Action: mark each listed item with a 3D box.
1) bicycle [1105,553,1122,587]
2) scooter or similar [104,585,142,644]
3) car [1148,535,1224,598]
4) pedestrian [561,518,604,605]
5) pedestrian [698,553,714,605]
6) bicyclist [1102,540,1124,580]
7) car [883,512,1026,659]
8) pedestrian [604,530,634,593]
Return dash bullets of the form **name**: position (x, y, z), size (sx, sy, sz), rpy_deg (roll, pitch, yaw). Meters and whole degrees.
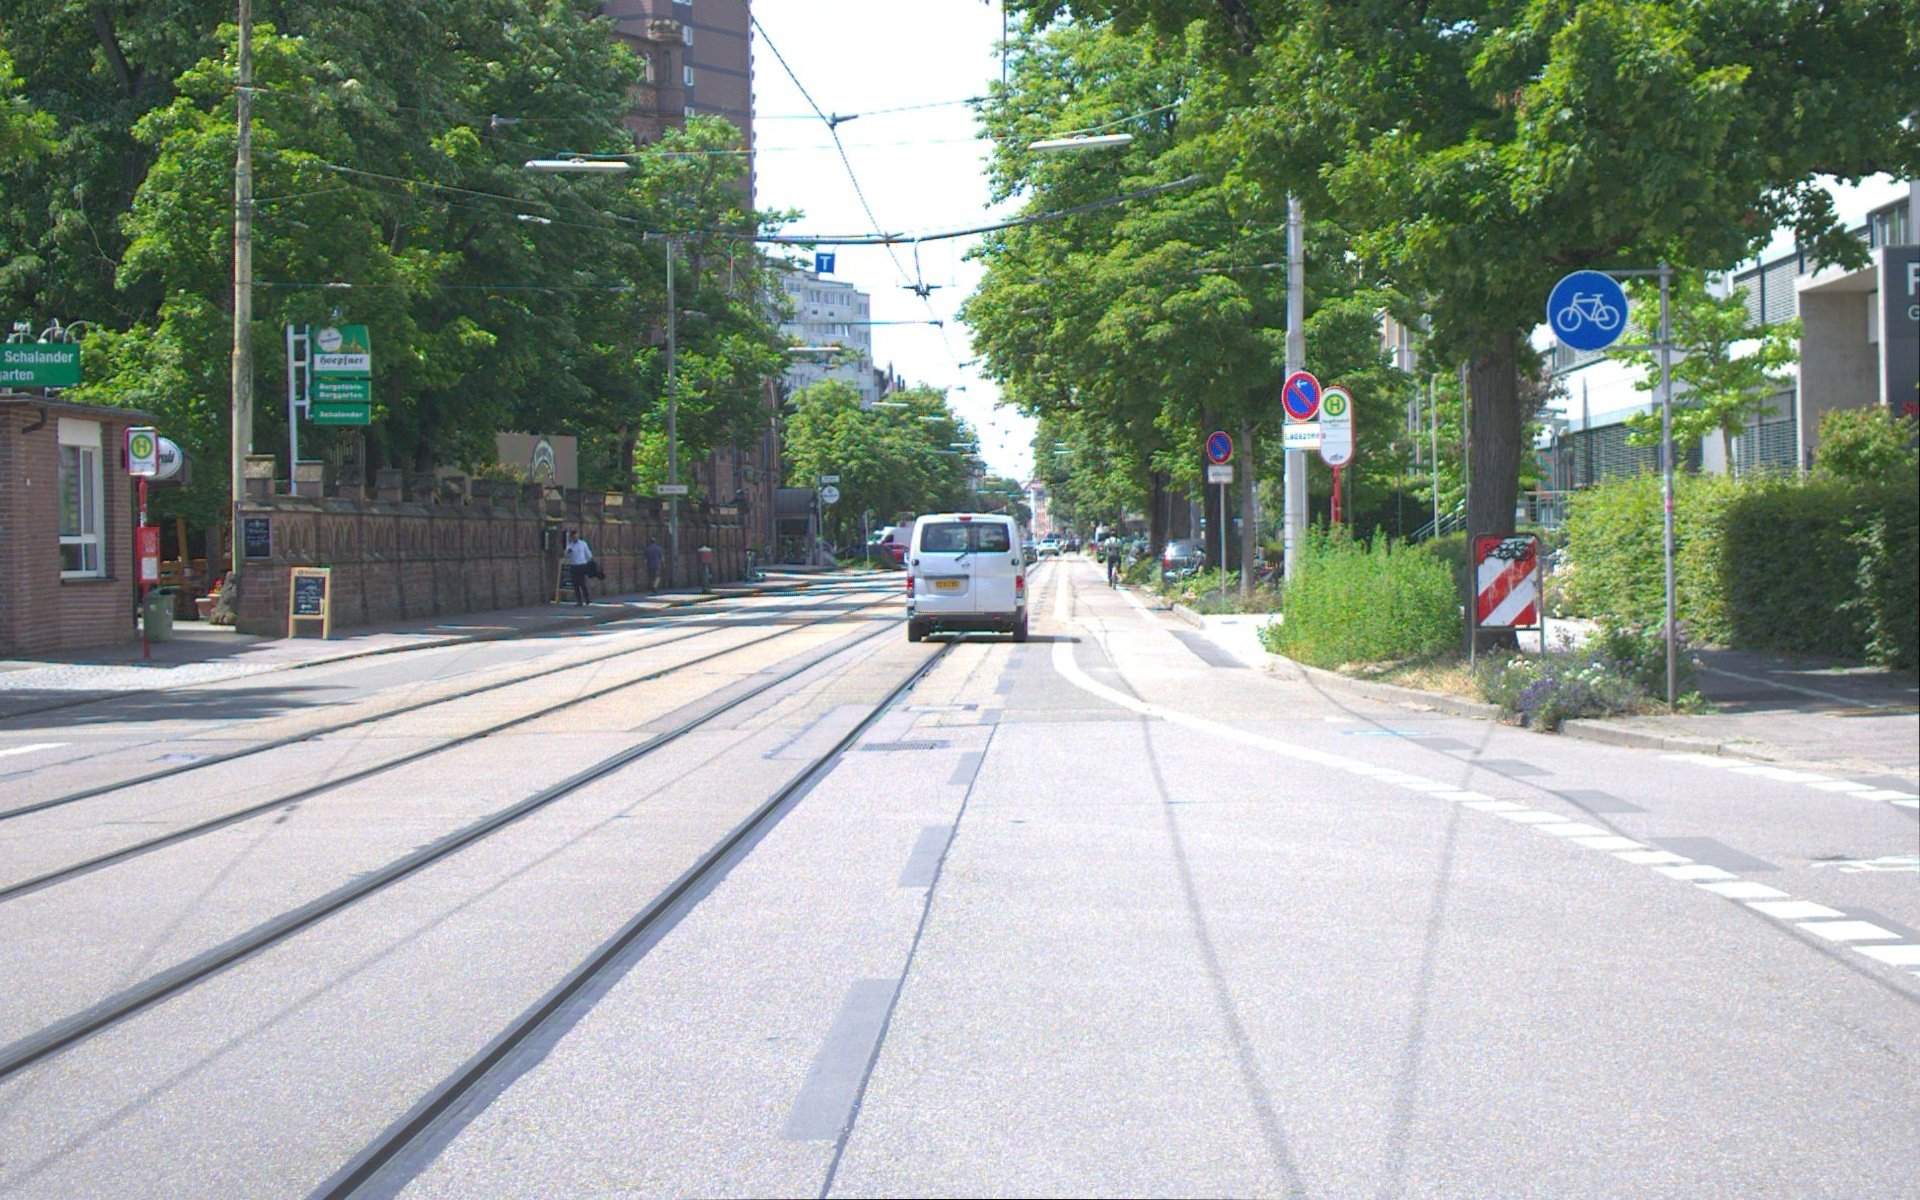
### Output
- **bicycle**: position (4.548, -0.892, 101.845), size (0.387, 0.961, 1.699), rpy_deg (-3, 0, -1)
- **scooter or similar**: position (-12.294, 0.208, 50.519), size (0.432, 0.860, 0.500), rpy_deg (-1, 0, -1)
- **car**: position (5.712, -0.834, 87.278), size (1.585, 1.484, 3.456), rpy_deg (-3, 0, -1)
- **pedestrian**: position (-8.955, -0.904, 81.571), size (0.863, 2.007, 0.646), rpy_deg (-3, 0, 0)
- **pedestrian**: position (-7.608, -0.613, 102.994), size (0.372, 1.538, 0.454), rpy_deg (-3, 0, -1)
- **bicyclist**: position (4.533, -1.184, 101.851), size (0.540, 1.153, 0.575), rpy_deg (-3, 0, -1)
- **car**: position (-0.117, -0.257, 50.469), size (1.752, 2.006, 4.001), rpy_deg (-2, 1, -4)
- **pedestrian**: position (-9.570, -1.079, 96.638), size (0.677, 1.721, 0.983), rpy_deg (-3, 0, -1)
